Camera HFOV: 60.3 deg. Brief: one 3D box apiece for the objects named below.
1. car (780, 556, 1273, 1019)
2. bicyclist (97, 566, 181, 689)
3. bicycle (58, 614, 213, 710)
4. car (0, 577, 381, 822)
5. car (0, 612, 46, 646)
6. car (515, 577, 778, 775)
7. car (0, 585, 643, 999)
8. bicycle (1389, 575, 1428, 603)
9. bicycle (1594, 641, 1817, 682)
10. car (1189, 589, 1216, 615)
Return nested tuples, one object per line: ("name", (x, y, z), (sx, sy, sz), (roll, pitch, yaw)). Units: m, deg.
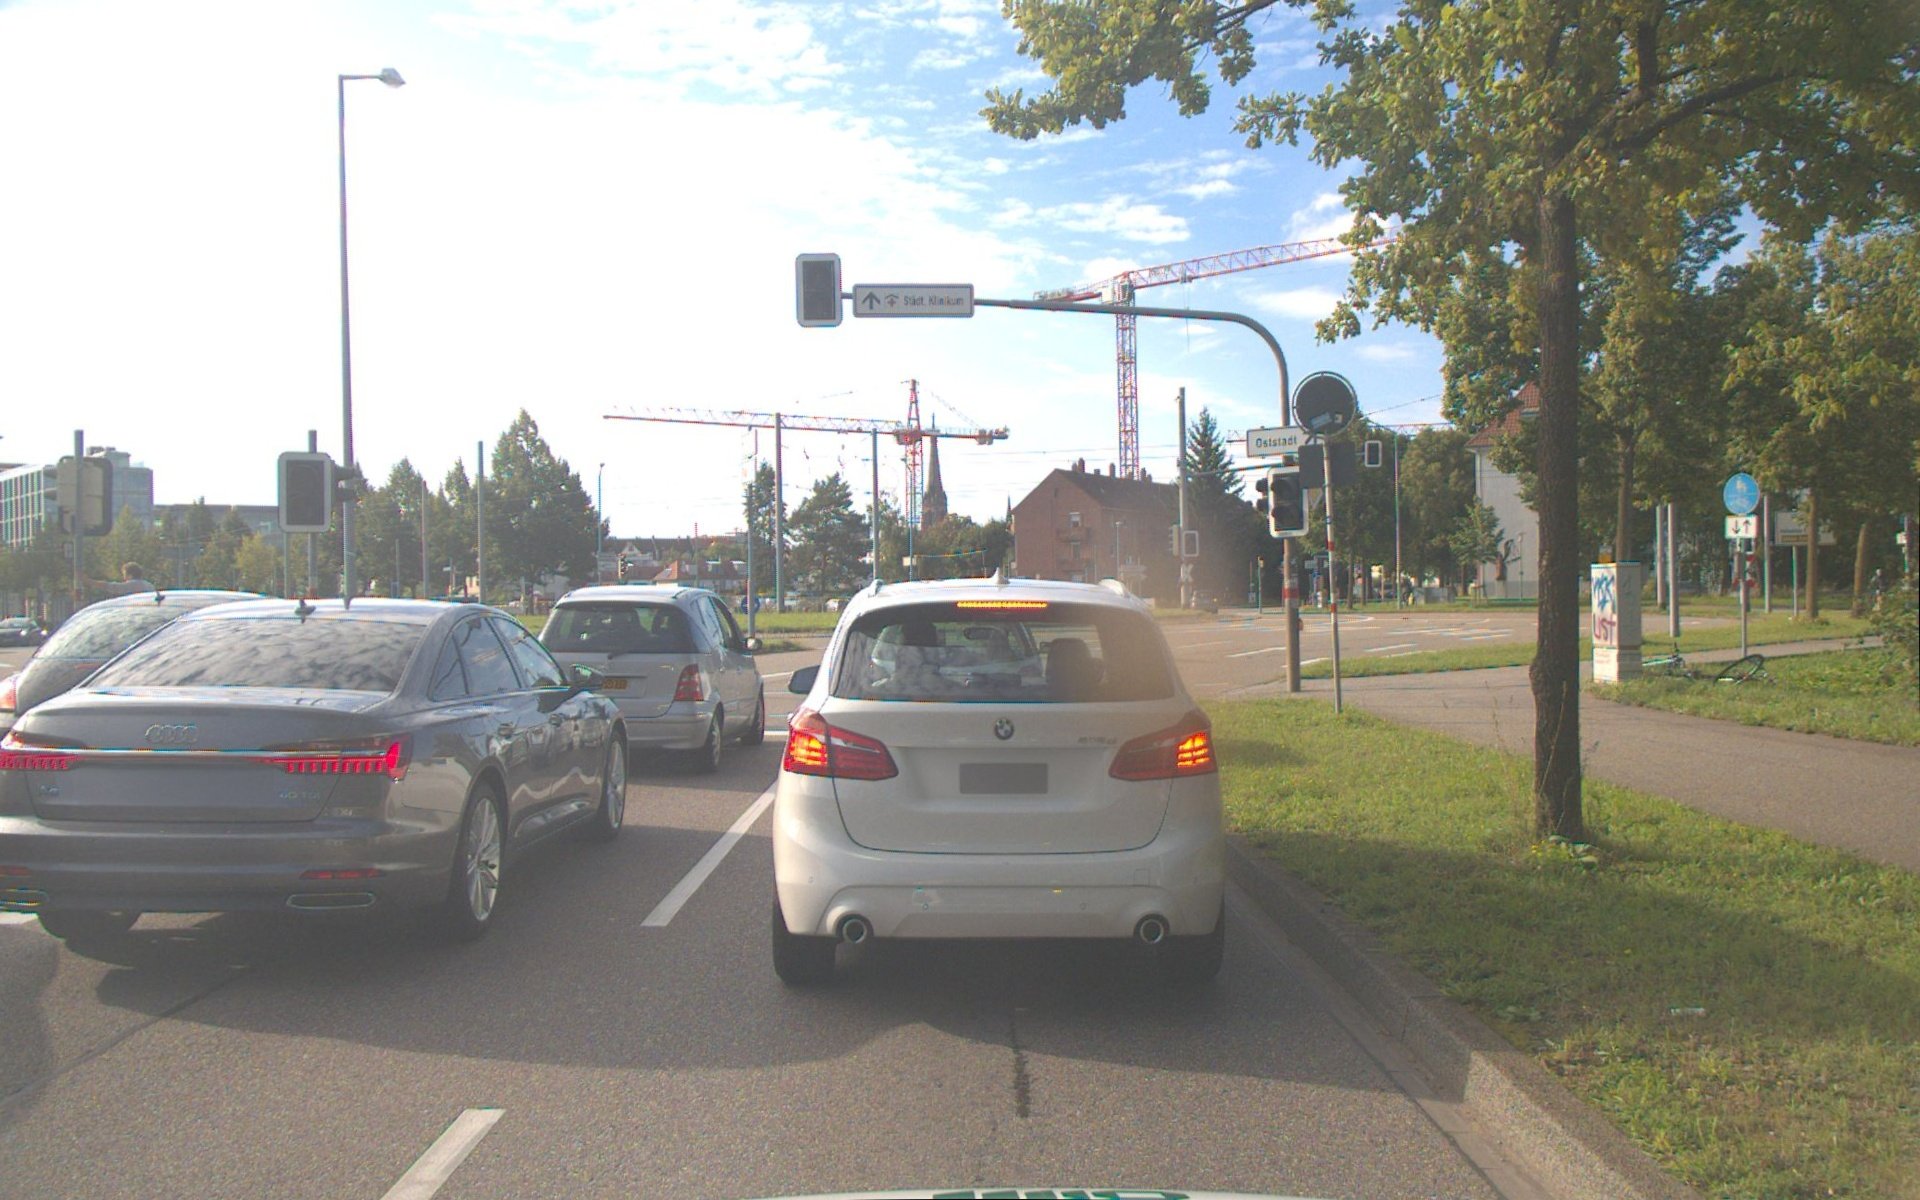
("car", (0.197, 0.639, 7.722), (1.694, 1.585, 4.057), (0, 0, -1))
("bicyclist", (-10.677, 0.354, 21.525), (0.835, 1.553, 0.737), (-1, 0, -17))
("bicycle", (-10.697, 0.793, 21.508), (1.698, 1.184, 0.653), (-1, 0, -17))
("car", (-5.800, 0.629, 12.380), (1.646, 1.549, 3.809), (0, 0, -1))
("car", (-46.182, 1.405, 81.000), (1.759, 1.602, 3.979), (-1, 0, -18))
("car", (-2.749, 0.609, 15.364), (1.694, 1.585, 4.057), (0, 0, -1))
("car", (-2.937, 0.713, 8.357), (1.851, 1.509, 4.612), (0, 0, -1))
("bicycle", (26.450, -0.648, 97.619), (0.884, 1.557, 2.266), (2, -1, -30))
("bicycle", (9.488, 0.774, 21.216), (1.382, 0.392, 2.569), (-1, 0, -12))
("car", (15.465, 0.102, 105.439), (1.536, 1.601, 3.201), (-1, 0, 11))
